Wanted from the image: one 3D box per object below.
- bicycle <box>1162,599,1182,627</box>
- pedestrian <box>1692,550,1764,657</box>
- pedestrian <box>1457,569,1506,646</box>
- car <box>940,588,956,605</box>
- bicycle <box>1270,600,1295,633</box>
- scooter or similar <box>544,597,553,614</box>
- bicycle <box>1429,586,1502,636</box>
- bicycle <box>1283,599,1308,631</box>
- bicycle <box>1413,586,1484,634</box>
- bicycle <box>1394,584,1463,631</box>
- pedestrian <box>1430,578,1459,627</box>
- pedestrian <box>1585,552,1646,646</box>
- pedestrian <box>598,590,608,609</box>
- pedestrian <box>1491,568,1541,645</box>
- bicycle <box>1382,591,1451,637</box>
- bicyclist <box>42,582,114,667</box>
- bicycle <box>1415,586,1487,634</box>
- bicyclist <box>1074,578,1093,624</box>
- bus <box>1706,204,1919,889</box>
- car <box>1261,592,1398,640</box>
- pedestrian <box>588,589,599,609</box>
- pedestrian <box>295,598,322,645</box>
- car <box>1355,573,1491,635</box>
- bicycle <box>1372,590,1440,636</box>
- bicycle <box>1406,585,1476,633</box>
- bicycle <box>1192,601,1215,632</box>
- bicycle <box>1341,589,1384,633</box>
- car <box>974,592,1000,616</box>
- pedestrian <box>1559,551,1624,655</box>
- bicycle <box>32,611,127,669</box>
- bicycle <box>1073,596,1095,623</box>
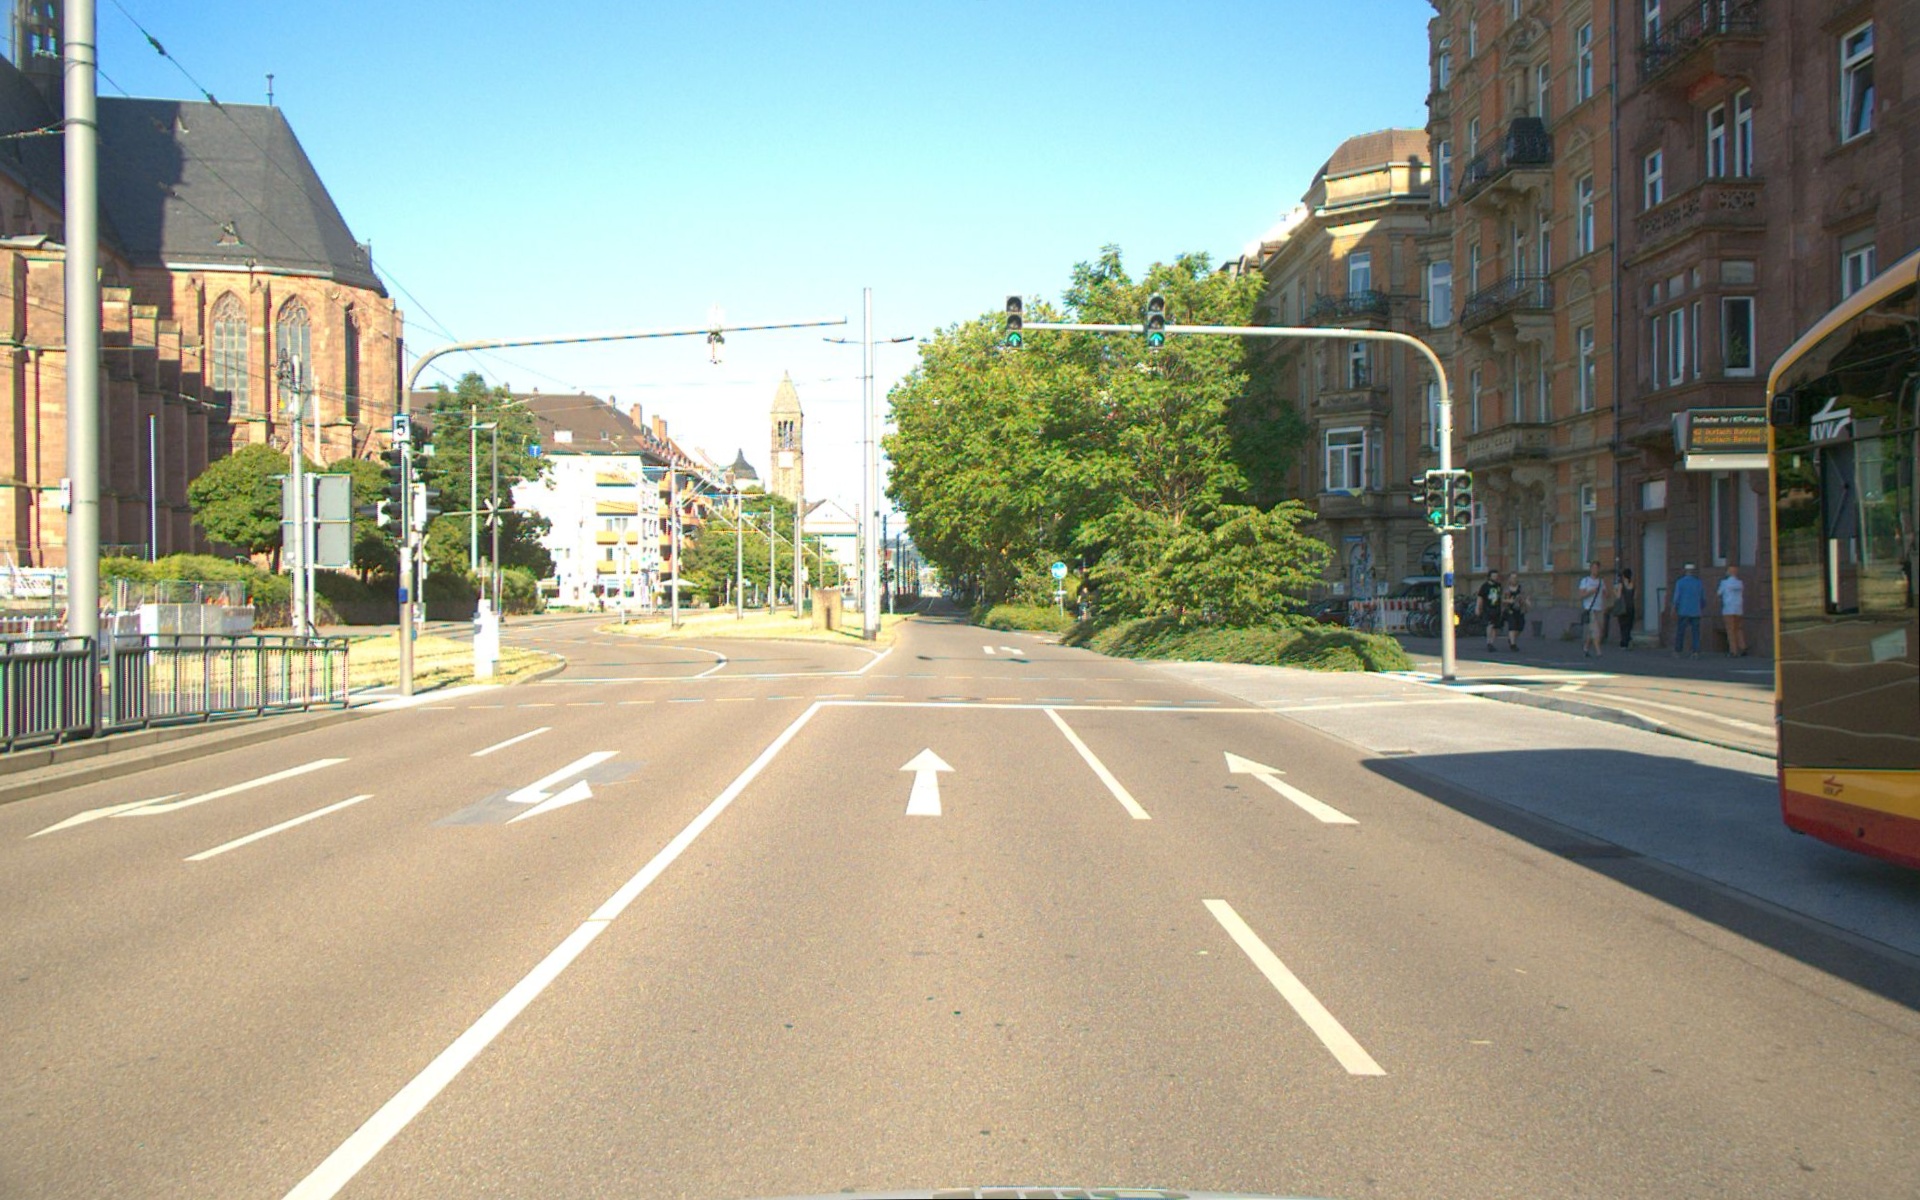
[{"bbox_3d":[8.531,0.529,66.546,0.515,1.005,1.722,-2,3,-2],"label":"bicycle"},{"bbox_3d":[14.438,0.055,31.120,0.805,1.964,1.136,-1,0,-1],"label":"pedestrian"},{"bbox_3d":[11.602,0.162,36.821,0.688,1.685,1.136,-1,0,-1],"label":"pedestrian"},{"bbox_3d":[-1.591,-0.393,219.173,1.953,2.144,3.999,1,-1,0],"label":"car"},{"bbox_3d":[11.966,0.601,61.375,0.507,1.066,1.821,-2,3,-1],"label":"bicycle"},{"bbox_3d":[-31.585,0.429,126.999,0.393,1.283,1.231,-2,3,0],"label":"scooter or similar"},{"bbox_3d":[13.635,0.293,44.643,1.851,1.260,0.489,-2,-1,-14],"label":"bicycle"},{"bbox_3d":[12.577,0.546,62.077,0.507,1.066,1.821,-2,3,-1],"label":"bicycle"},{"bbox_3d":[13.521,0.281,45.797,1.851,1.260,0.489,-2,-1,-14],"label":"bicycle"},{"bbox_3d":[13.265,0.213,46.855,1.851,1.260,0.489,-2,-1,-14],"label":"bicycle"},{"bbox_3d":[15.664,0.085,53.460,0.690,1.561,0.658,-1,0,40],"label":"pedestrian"},{"bbox_3d":[13.901,-0.028,35.098,0.805,1.964,1.136,-1,0,-1],"label":"pedestrian"},{"bbox_3d":[-29.449,-0.061,136.523,0.577,1.493,0.916,-2,3,0],"label":"pedestrian"},{"bbox_3d":[12.359,0.142,36.790,0.688,1.685,1.136,-1,0,-1],"label":"pedestrian"},{"bbox_3d":[13.085,0.399,47.399,1.851,1.260,0.489,-2,-1,-14],"label":"bicycle"},{"bbox_3d":[-20.434,0.553,38.354,0.945,1.839,1.317,-4,2,-8],"label":"bicyclist"},{"bbox_3d":[13.417,0.271,45.177,1.851,1.260,0.489,-2,-1,-14],"label":"bicycle"},{"bbox_3d":[5.048,0.033,67.623,0.628,1.846,1.052,-2,-1,-2],"label":"bicyclist"},{"bbox_3d":[5.921,-0.251,3.678,2.660,3.236,12.539,-2,0,-1],"label":"bus"},{"bbox_3d":[12.318,0.520,55.294,4.164,1.440,1.813,-1,3,-1],"label":"car"},{"bbox_3d":[-30.222,-0.099,136.504,0.630,1.626,0.898,-2,3,-1],"label":"pedestrian"},{"bbox_3d":[-26.022,0.871,66.068,0.713,1.804,0.863,-2,3,-4],"label":"pedestrian"},{"bbox_3d":[16.964,0.117,60.718,4.485,2.161,1.775,0,3,-3],"label":"car"},{"bbox_3d":[12.934,0.371,47.982,1.851,1.260,0.489,-2,-1,-14],"label":"bicycle"},{"bbox_3d":[13.481,0.250,46.384,1.851,1.260,0.489,-2,-1,-14],"label":"bicycle"},{"bbox_3d":[9.170,0.608,62.328,0.507,1.066,1.821,-2,3,-1],"label":"bicycle"},{"bbox_3d":[11.929,0.342,49.063,0.480,1.260,1.885,-2,-1,-10],"label":"bicycle"},{"bbox_3d":[1.771,0.254,109.640,1.610,1.537,4.182,-2,1,0],"label":"car"},{"bbox_3d":[12.288,0.055,32.204,0.805,1.964,1.136,-1,0,-1],"label":"pedestrian"},{"bbox_3d":[-20.416,0.906,38.450,0.945,1.115,2.819,-4,2,-8],"label":"bicycle"},{"bbox_3d":[5.052,0.408,67.610,0.628,1.066,2.359,-2,-1,-1],"label":"bicycle"}]
